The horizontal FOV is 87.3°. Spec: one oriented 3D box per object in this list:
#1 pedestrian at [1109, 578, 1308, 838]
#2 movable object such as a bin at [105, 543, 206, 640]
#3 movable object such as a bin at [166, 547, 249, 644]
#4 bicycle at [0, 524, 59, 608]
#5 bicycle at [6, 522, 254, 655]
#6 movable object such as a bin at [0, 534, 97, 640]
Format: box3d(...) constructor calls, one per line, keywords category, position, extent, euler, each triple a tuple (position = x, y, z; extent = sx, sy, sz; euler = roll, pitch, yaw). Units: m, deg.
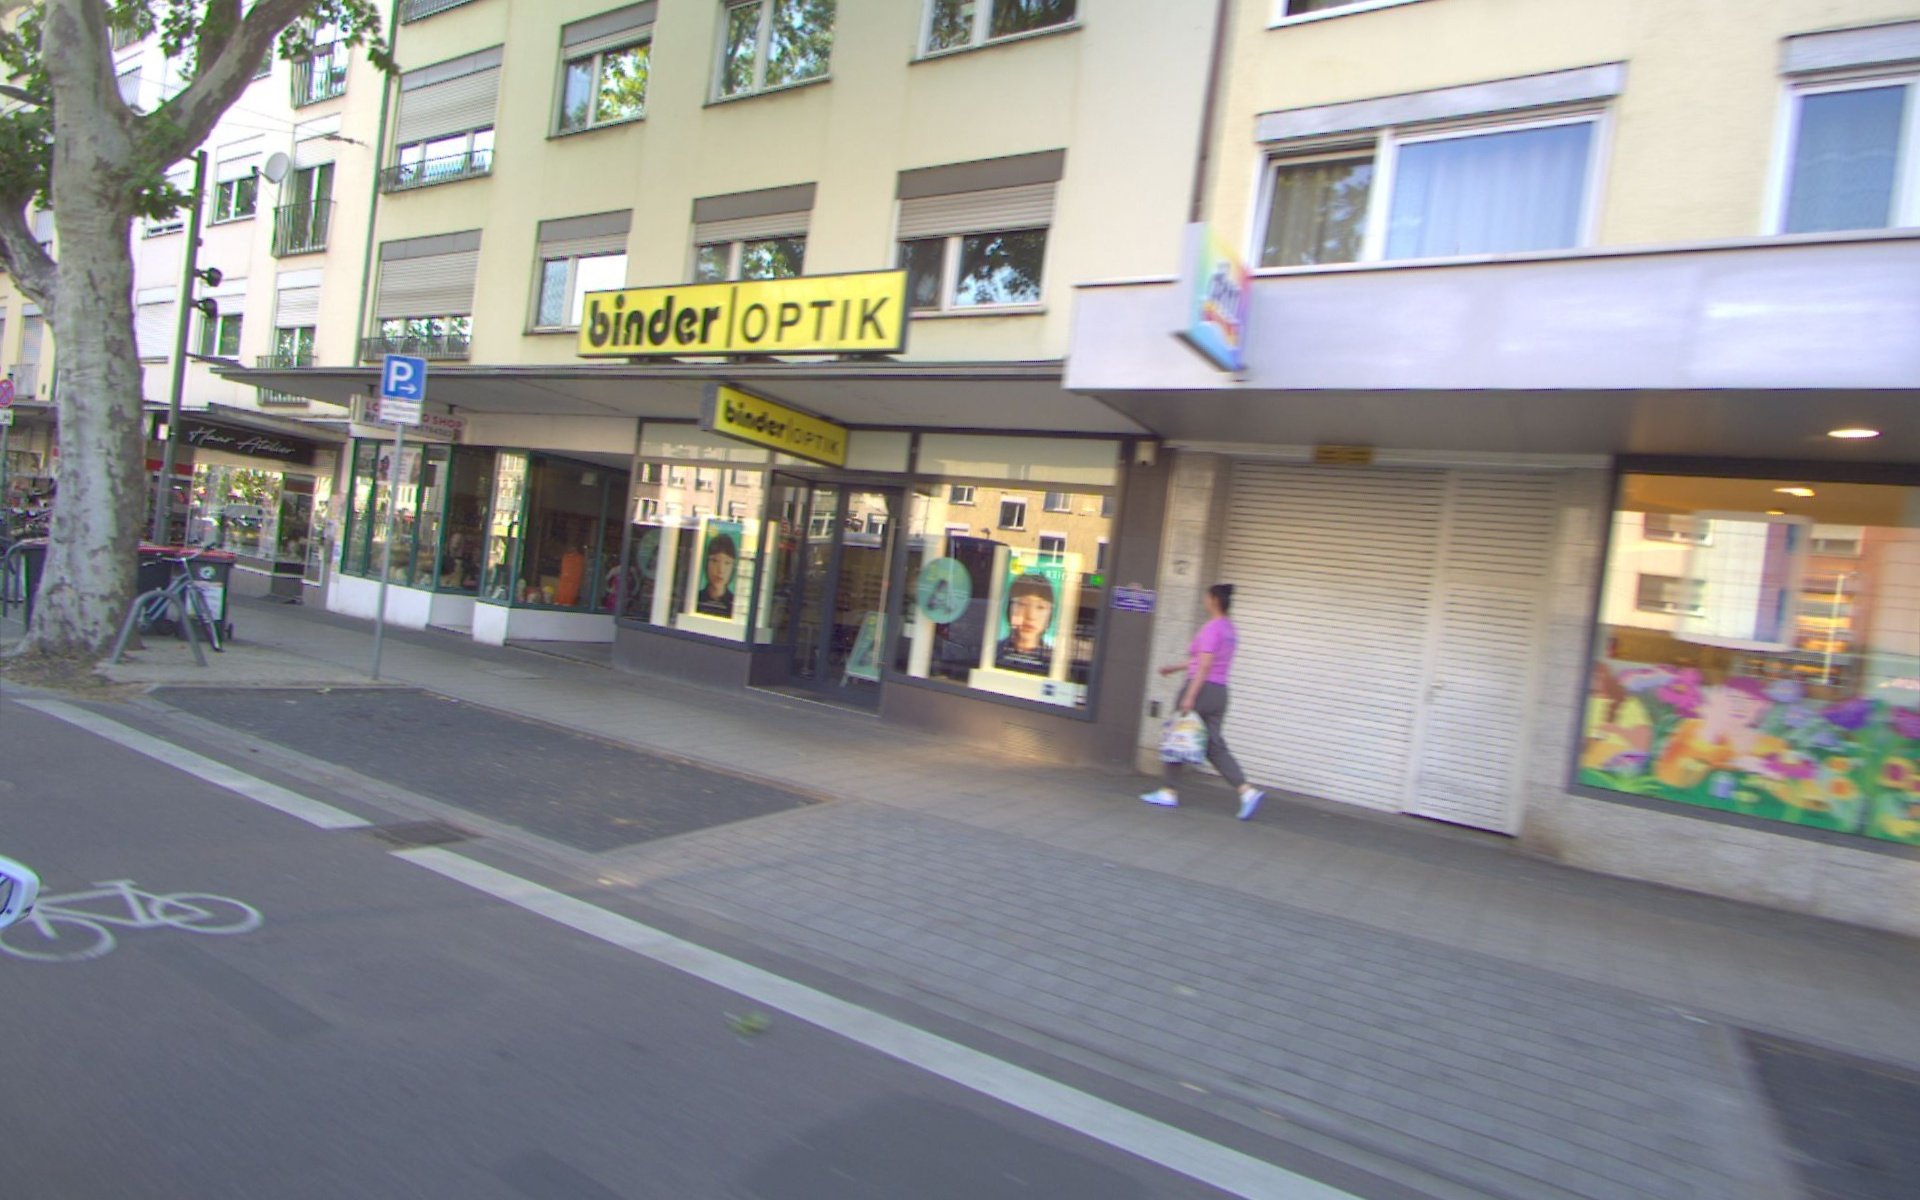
box3d(category="pedestrian", position=(1.958, 0.792, 7.898), extent=(1.115, 1.786, 0.968), euler=(6, 1, 32))
box3d(category="movable object such as a bin", position=(-9.711, -0.092, 12.150), extent=(0.633, 1.086, 0.722), euler=(6, 2, 29))
box3d(category="movable object such as a bin", position=(-9.136, -0.055, 12.208), extent=(0.718, 1.086, 0.637), euler=(4, 2, -40))
box3d(category="bicycle", position=(-13.567, -0.508, 13.649), extent=(0.510, 1.119, 1.904), euler=(7, 2, 37))
box3d(category="bicycle", position=(-8.402, -0.082, 10.267), extent=(0.733, 1.129, 1.721), euler=(3, -4, 32))
box3d(category="movable object such as a bin", position=(-10.297, -0.143, 11.367), extent=(0.634, 1.118, 0.720), euler=(7, 5, 38))
